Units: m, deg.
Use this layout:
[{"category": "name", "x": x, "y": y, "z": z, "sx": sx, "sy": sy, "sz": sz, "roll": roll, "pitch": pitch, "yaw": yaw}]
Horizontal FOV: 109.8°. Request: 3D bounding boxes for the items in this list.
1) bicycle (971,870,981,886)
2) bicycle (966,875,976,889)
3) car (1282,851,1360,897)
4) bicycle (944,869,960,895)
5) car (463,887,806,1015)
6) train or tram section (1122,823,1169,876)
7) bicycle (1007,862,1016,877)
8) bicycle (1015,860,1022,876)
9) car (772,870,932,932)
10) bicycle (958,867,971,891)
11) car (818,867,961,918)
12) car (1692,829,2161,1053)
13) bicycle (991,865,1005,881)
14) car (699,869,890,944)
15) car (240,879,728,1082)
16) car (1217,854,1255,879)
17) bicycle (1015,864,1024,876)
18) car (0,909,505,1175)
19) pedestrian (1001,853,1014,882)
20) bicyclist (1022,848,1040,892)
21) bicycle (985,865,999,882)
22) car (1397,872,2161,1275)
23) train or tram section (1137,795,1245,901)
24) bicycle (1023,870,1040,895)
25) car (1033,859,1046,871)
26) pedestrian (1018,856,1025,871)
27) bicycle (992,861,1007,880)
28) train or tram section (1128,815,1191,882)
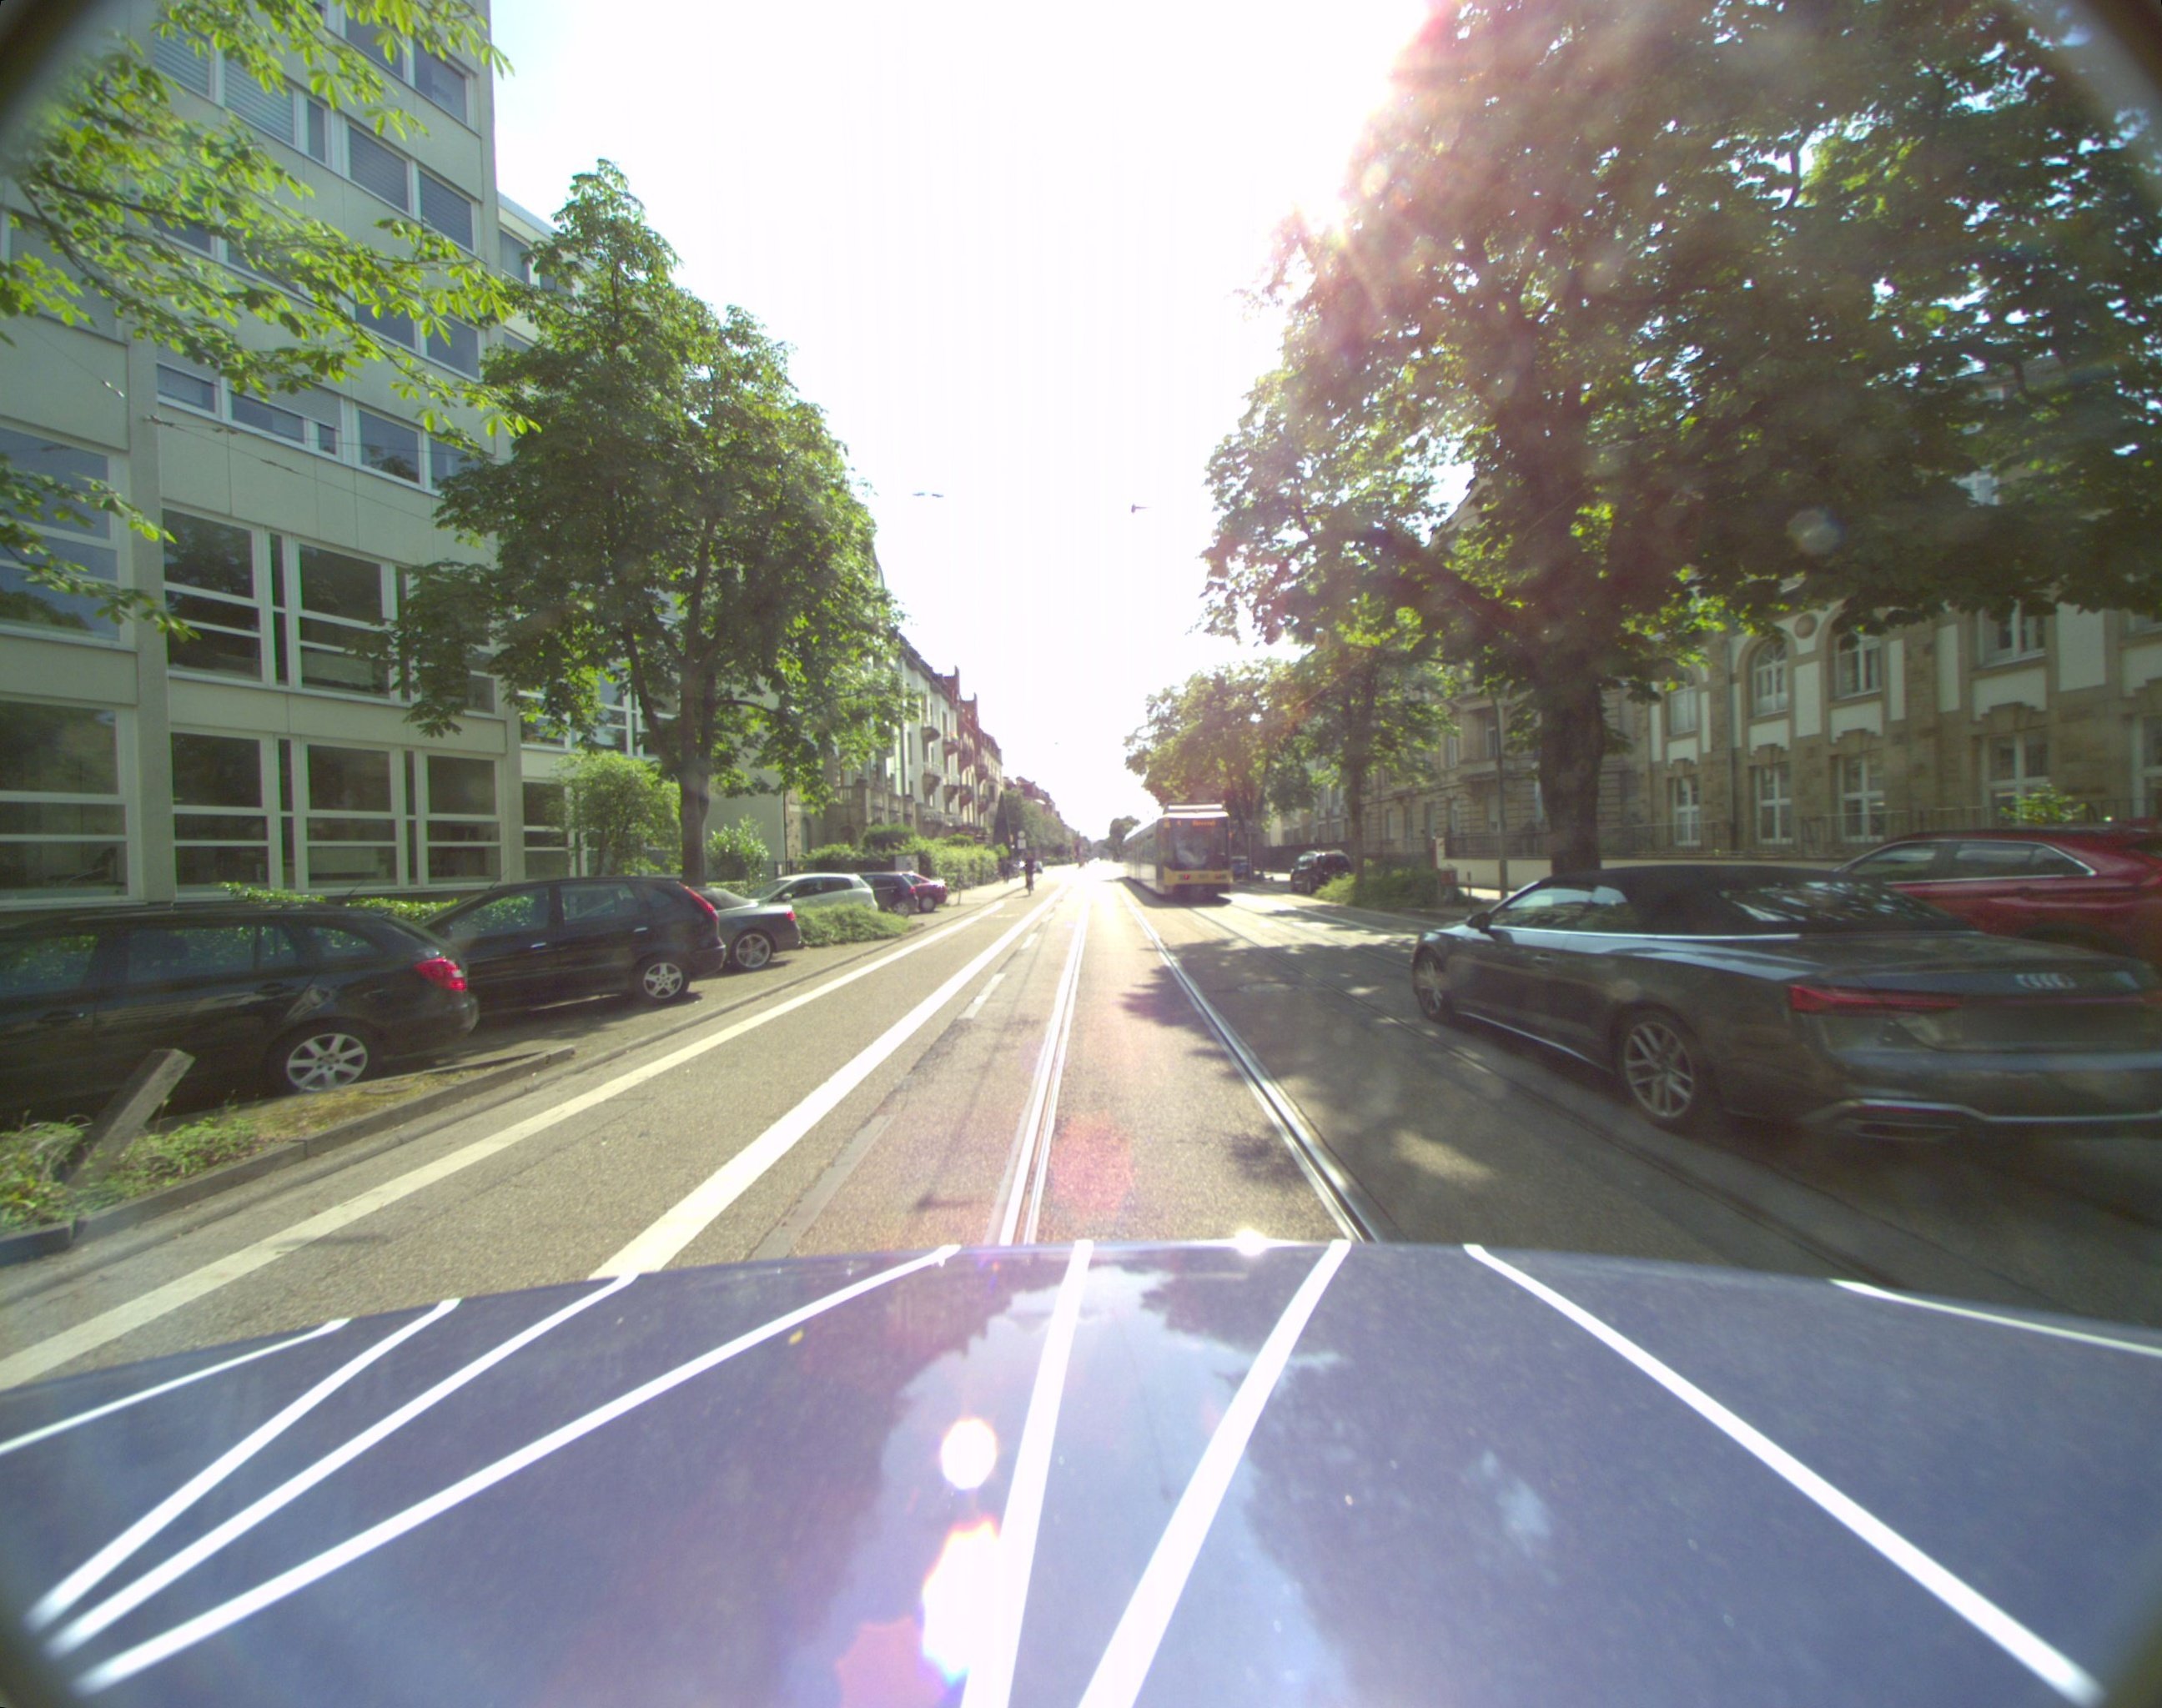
[{"category": "bicycle", "x": -5.876, "y": 1.343, "z": 42.710, "sx": 0.274, "sy": 0.901, "sz": 1.669, "roll": 2, "pitch": -1, "yaw": 1}, {"category": "bicycle", "x": -5.806, "y": 1.475, "z": 40.206, "sx": 0.280, "sy": 0.673, "sz": 1.559, "roll": 2, "pitch": 1, "yaw": 1}, {"category": "car", "x": 9.716, "y": 0.742, "z": 31.110, "sx": 1.811, "sy": 1.631, "sz": 4.331, "roll": -3, "pitch": 0, "yaw": 0}, {"category": "bicycle", "x": -5.893, "y": 1.257, "z": 34.774, "sx": 0.280, "sy": 1.102, "sz": 2.011, "roll": 2, "pitch": 1, "yaw": 1}, {"category": "car", "x": -6.737, "y": 1.326, "z": 11.748, "sx": 4.183, "sy": 1.341, "sz": 1.900, "roll": -3, "pitch": 0, "yaw": -44}, {"category": "train or tram section", "x": 4.536, "y": -0.301, "z": 55.809, "sx": 2.659, "sy": 3.416, "sz": 12.316, "roll": 0, "pitch": 0, "yaw": 1}, {"category": "bicycle", "x": -5.403, "y": 1.193, "z": 59.477, "sx": 0.452, "sy": 1.116, "sz": 1.844, "roll": 1, "pitch": 0, "yaw": 2}, {"category": "bicycle", "x": -4.979, "y": 1.103, "z": 60.753, "sx": 0.452, "sy": 1.253, "sz": 1.844, "roll": 1, "pitch": 0, "yaw": -2}, {"category": "car", "x": -6.518, "y": 1.283, "z": 21.851, "sx": 4.007, "sy": 1.440, "sz": 1.695, "roll": -2, "pitch": 0, "yaw": -41}, {"category": "bicycle", "x": -5.840, "y": 1.233, "z": 38.292, "sx": 0.280, "sy": 1.102, "sz": 2.011, "roll": 2, "pitch": 1, "yaw": 1}, {"category": "car", "x": -6.236, "y": 1.194, "z": 25.019, "sx": 4.168, "sy": 1.415, "sz": 1.861, "roll": -1, "pitch": 0, "yaw": -41}, {"category": "car", "x": 9.143, "y": 0.640, "z": 7.880, "sx": 1.755, "sy": 1.656, "sz": 4.720, "roll": -3, "pitch": 0, "yaw": 0}, {"category": "bicycle", "x": -5.405, "y": 1.212, "z": 49.513, "sx": 0.612, "sy": 0.990, "sz": 2.362, "roll": 1, "pitch": 0, "yaw": 1}, {"category": "car", "x": -6.863, "y": 1.192, "z": 18.466, "sx": 4.008, "sy": 1.452, "sz": 1.531, "roll": -2, "pitch": 0, "yaw": -44}, {"category": "car", "x": -6.548, "y": 1.210, "z": 8.805, "sx": 4.007, "sy": 1.565, "sz": 1.900, "roll": -3, "pitch": 0, "yaw": -41}, {"category": "car", "x": 10.070, "y": 0.787, "z": 49.530, "sx": 1.658, "sy": 1.476, "sz": 3.808, "roll": -3, "pitch": 1, "yaw": 0}, {"category": "bicycle", "x": -5.333, "y": 1.368, "z": 65.702, "sx": 0.600, "sy": 0.955, "sz": 3.066, "roll": 2, "pitch": 0, "yaw": -2}, {"category": "car", "x": -6.799, "y": 1.239, "z": 5.436, "sx": 4.084, "sy": 1.434, "sz": 1.722, "roll": -1, "pitch": -2, "yaw": -43}, {"category": "pedestrian", "x": -4.772, "y": 0.872, "z": 49.405, "sx": 0.790, "sy": 1.850, "sz": 0.580, "roll": 1, "pitch": 0, "yaw": -6}, {"category": "bicyclist", "x": -2.294, "y": 0.724, "z": 35.007, "sx": 0.608, "sy": 1.937, "sz": 1.130, "roll": -3, "pitch": 1, "yaw": 1}, {"category": "bicycle", "x": -5.523, "y": 1.205, "z": 47.114, "sx": 0.614, "sy": 0.983, "sz": 1.872, "roll": 1, "pitch": 1, "yaw": 1}, {"category": "car", "x": 3.904, "y": 0.879, "z": 5.061, "sx": 1.803, "sy": 1.380, "sz": 4.426, "roll": -1, "pitch": 0, "yaw": 1}, {"category": "train or tram section", "x": 4.015, "y": -0.242, "z": 31.274, "sx": 2.659, "sy": 3.336, "sz": 14.108, "roll": -1, "pitch": 0, "yaw": 1}, {"category": "bicycle", "x": -2.281, "y": 1.323, "z": 35.230, "sx": 0.617, "sy": 1.039, "sz": 1.836, "roll": 3, "pitch": 1, "yaw": 1}, {"category": "car", "x": -5.107, "y": 1.340, "z": 93.616, "sx": 1.517, "sy": 1.490, "sz": 2.794, "roll": 1, "pitch": 0, "yaw": -1}, {"category": "pedestrian", "x": -7.849, "y": 1.243, "z": 99.813, "sx": 0.661, "sy": 1.831, "sz": 0.873, "roll": 7, "pitch": -1, "yaw": -7}, {"category": "bicycle", "x": -5.686, "y": 1.146, "z": 52.987, "sx": 0.742, "sy": 1.224, "sz": 2.516, "roll": -1, "pitch": 0, "yaw": 0}, {"category": "train or tram section", "x": 4.295, "y": -0.319, "z": 43.996, "sx": 2.659, "sy": 3.369, "sz": 11.473, "roll": 0, "pitch": 0, "yaw": 1}]
